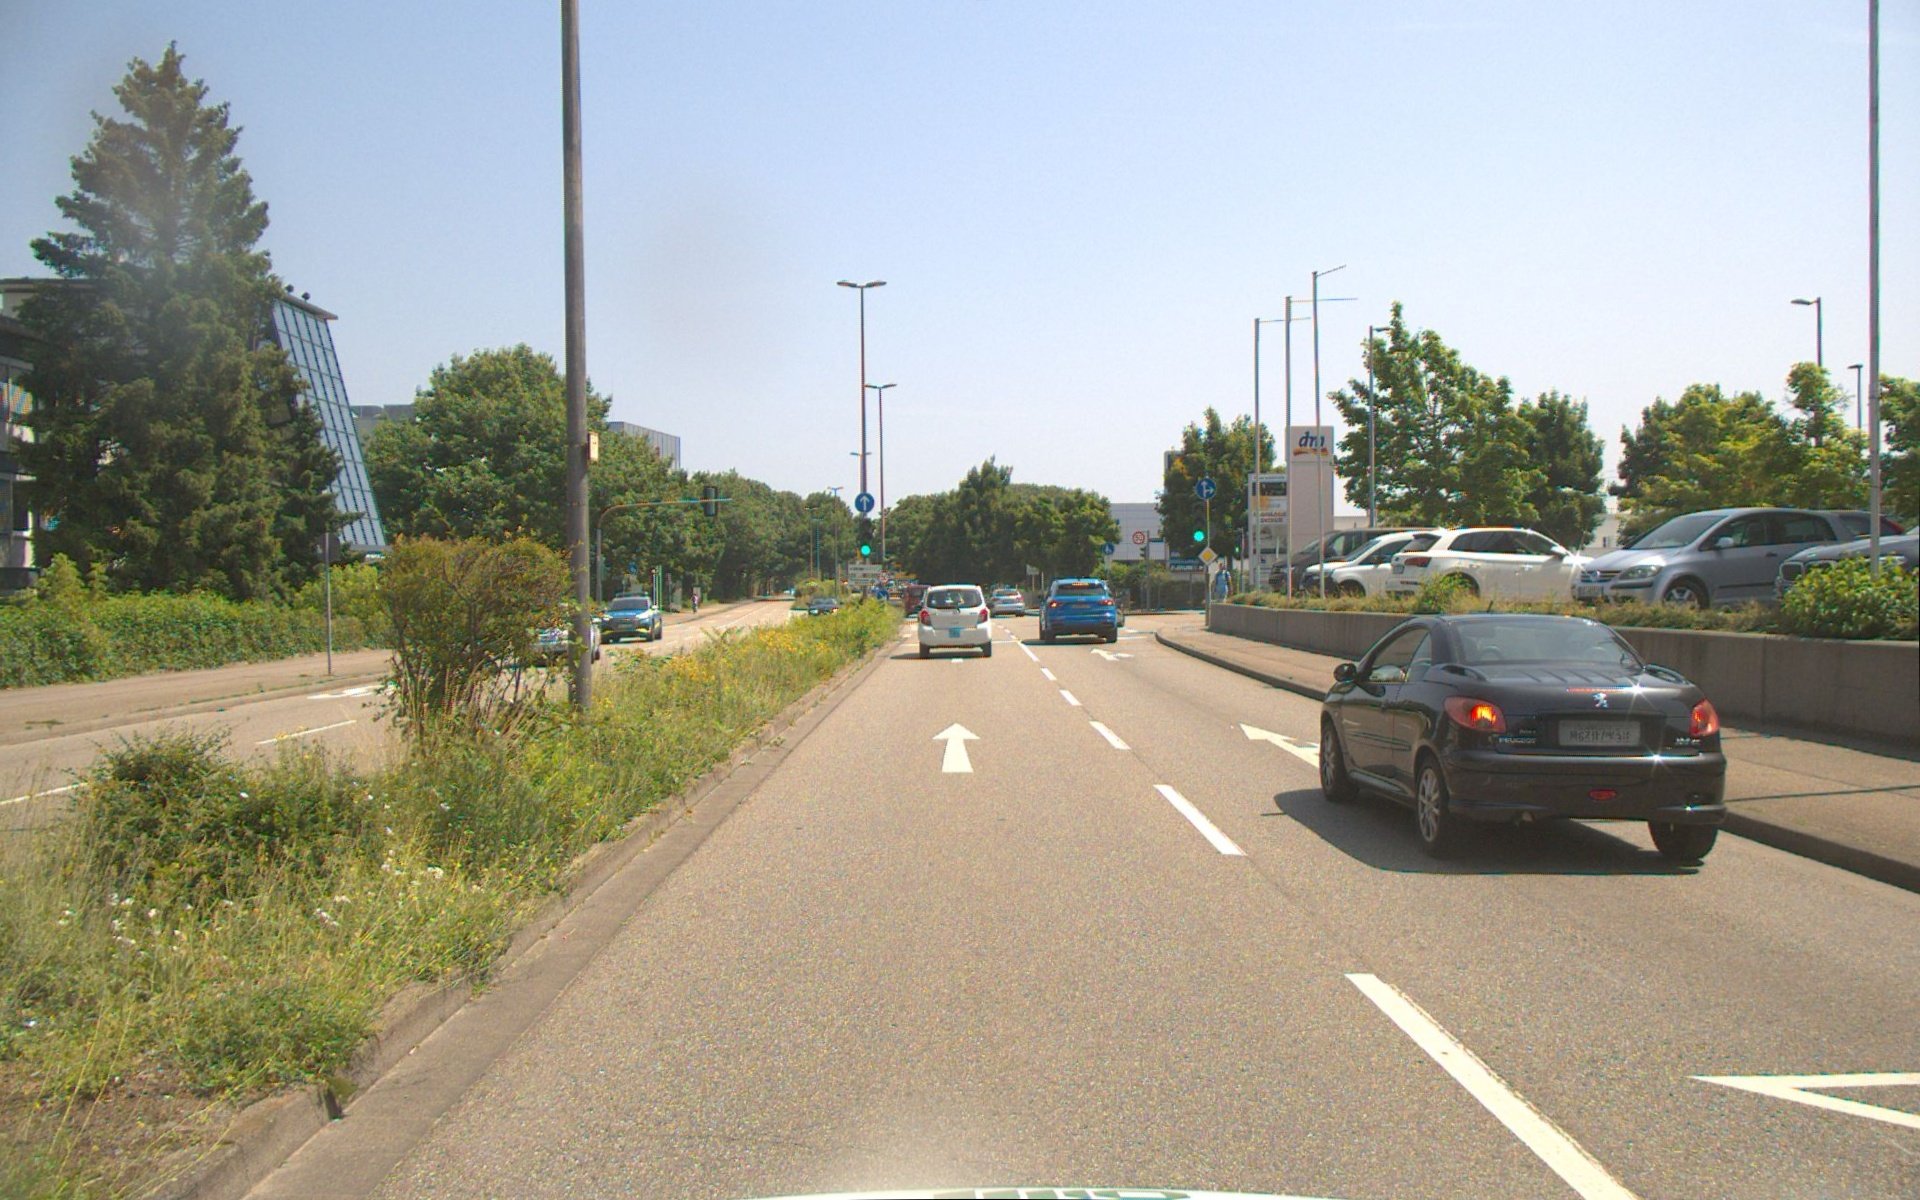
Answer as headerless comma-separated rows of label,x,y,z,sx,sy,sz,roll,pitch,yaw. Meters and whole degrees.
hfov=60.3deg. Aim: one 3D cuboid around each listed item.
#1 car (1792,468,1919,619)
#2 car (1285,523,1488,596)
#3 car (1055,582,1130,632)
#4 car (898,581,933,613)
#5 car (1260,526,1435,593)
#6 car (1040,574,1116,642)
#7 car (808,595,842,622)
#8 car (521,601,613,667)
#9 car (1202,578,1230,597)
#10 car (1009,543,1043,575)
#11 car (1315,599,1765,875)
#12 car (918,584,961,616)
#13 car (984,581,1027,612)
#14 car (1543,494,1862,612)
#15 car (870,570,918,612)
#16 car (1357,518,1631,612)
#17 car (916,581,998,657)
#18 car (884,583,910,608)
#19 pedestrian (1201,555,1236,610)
car,10.877,-0.591,16.422,4.234,1.392,1.999,-2,0,-3
car,10.129,-0.953,39.458,4.260,1.571,1.999,-2,0,-3
car,3.976,0.197,49.374,1.427,1.400,3.493,-1,0,18
car,-2.553,-0.195,94.229,1.741,1.770,3.996,-1,0,-5
car,9.855,-1.021,42.268,3.908,1.571,1.999,-2,0,-3
car,2.987,0.168,42.387,1.790,1.607,3.607,-1,1,2
car,-6.650,0.395,80.953,1.544,1.291,3.725,-1,0,-6
car,-9.366,0.765,39.681,1.703,1.437,4.363,-1,0,-8
car,18.337,-0.896,118.554,1.473,1.284,3.165,-1,0,0
car,4.412,-2.730,110.591,1.735,2.048,3.987,-1,1,-5
car,3.504,0.737,10.691,1.594,1.387,3.605,1,1,-1
car,-1.011,-0.009,78.754,1.953,1.467,3.999,-1,0,-2
car,2.264,-0.192,83.583,1.953,1.445,3.999,-2,0,-2
car,10.188,-0.645,22.732,3.863,1.477,1.755,-2,0,-19
car,-2.868,-0.409,71.199,1.784,1.690,3.996,-1,2,-5
car,9.935,-0.647,30.998,4.444,1.571,1.999,-2,0,-2
car,-0.061,0.379,36.813,1.712,1.546,3.746,0,1,0
car,-4.451,-0.326,118.016,1.761,1.719,3.999,-2,0,-2
pedestrian,7.885,-0.525,50.404,0.759,1.636,1.084,-1,0,26
